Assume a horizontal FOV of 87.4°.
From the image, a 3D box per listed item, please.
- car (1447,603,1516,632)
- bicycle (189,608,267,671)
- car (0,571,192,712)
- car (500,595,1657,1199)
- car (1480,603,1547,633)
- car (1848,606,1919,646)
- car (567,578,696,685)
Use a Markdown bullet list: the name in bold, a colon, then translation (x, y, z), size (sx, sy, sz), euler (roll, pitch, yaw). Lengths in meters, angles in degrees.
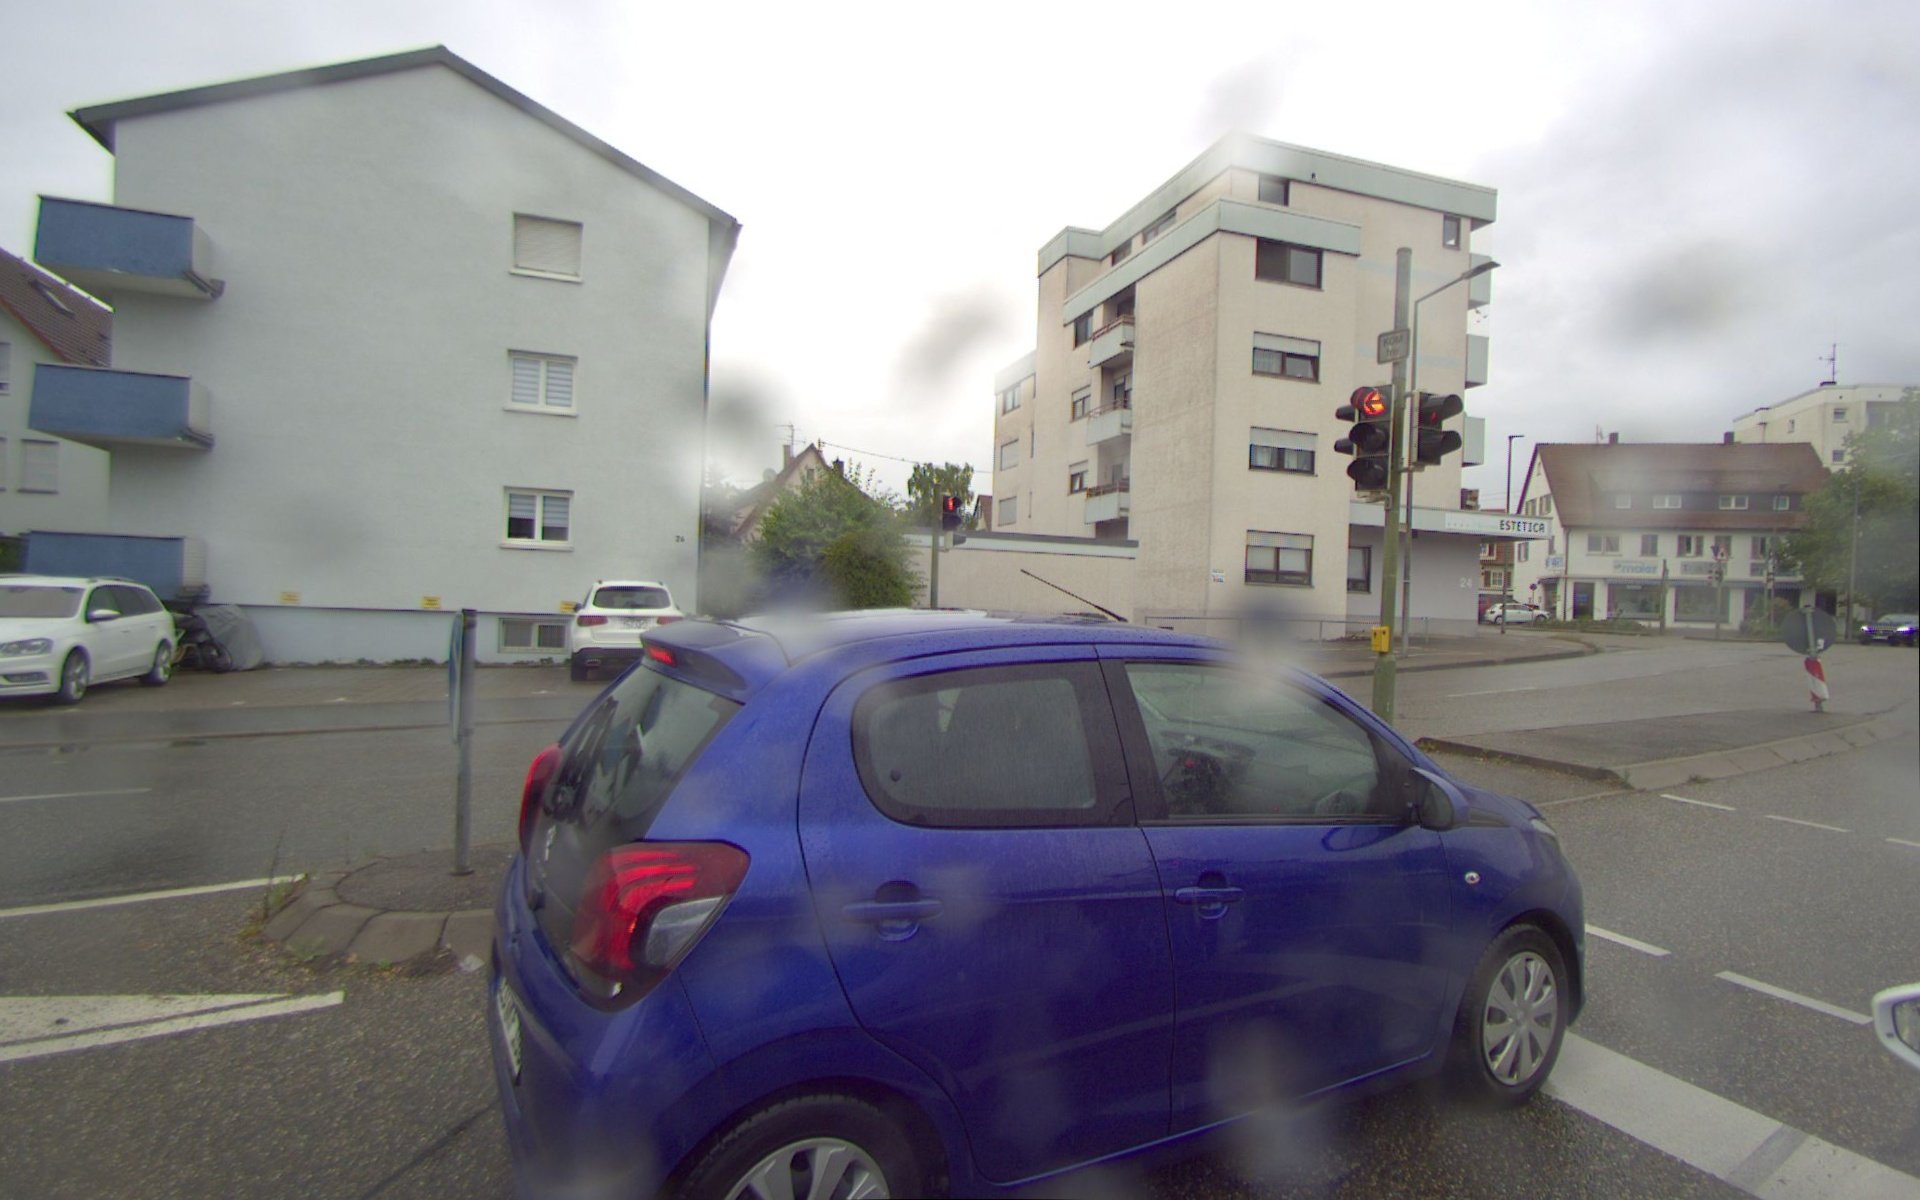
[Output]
- **car**: translation (37.216, 1.233, 71.732), size (3.987, 1.868, 1.889), euler (2, 0, 14)
- **bicycle**: translation (-12.691, 0.678, 17.426), size (1.053, 1.067, 0.345), euler (0, 1, -30)
- **car**: translation (-11.477, 0.447, 12.511), size (1.854, 1.480, 4.732), euler (1, -1, -23)
- **car**: translation (0.473, 0.736, 3.106), size (3.324, 1.432, 1.498), euler (1, 1, -30)
- **car**: translation (37.924, 1.229, 68.901), size (3.611, 1.946, 1.889), euler (2, 0, 14)
- **car**: translation (41.510, 1.183, 44.520), size (4.488, 1.646, 1.983), euler (2, 0, -32)
- **car**: translation (-5.760, 0.501, 17.581), size (1.884, 1.637, 3.982), euler (2, 0, -19)
